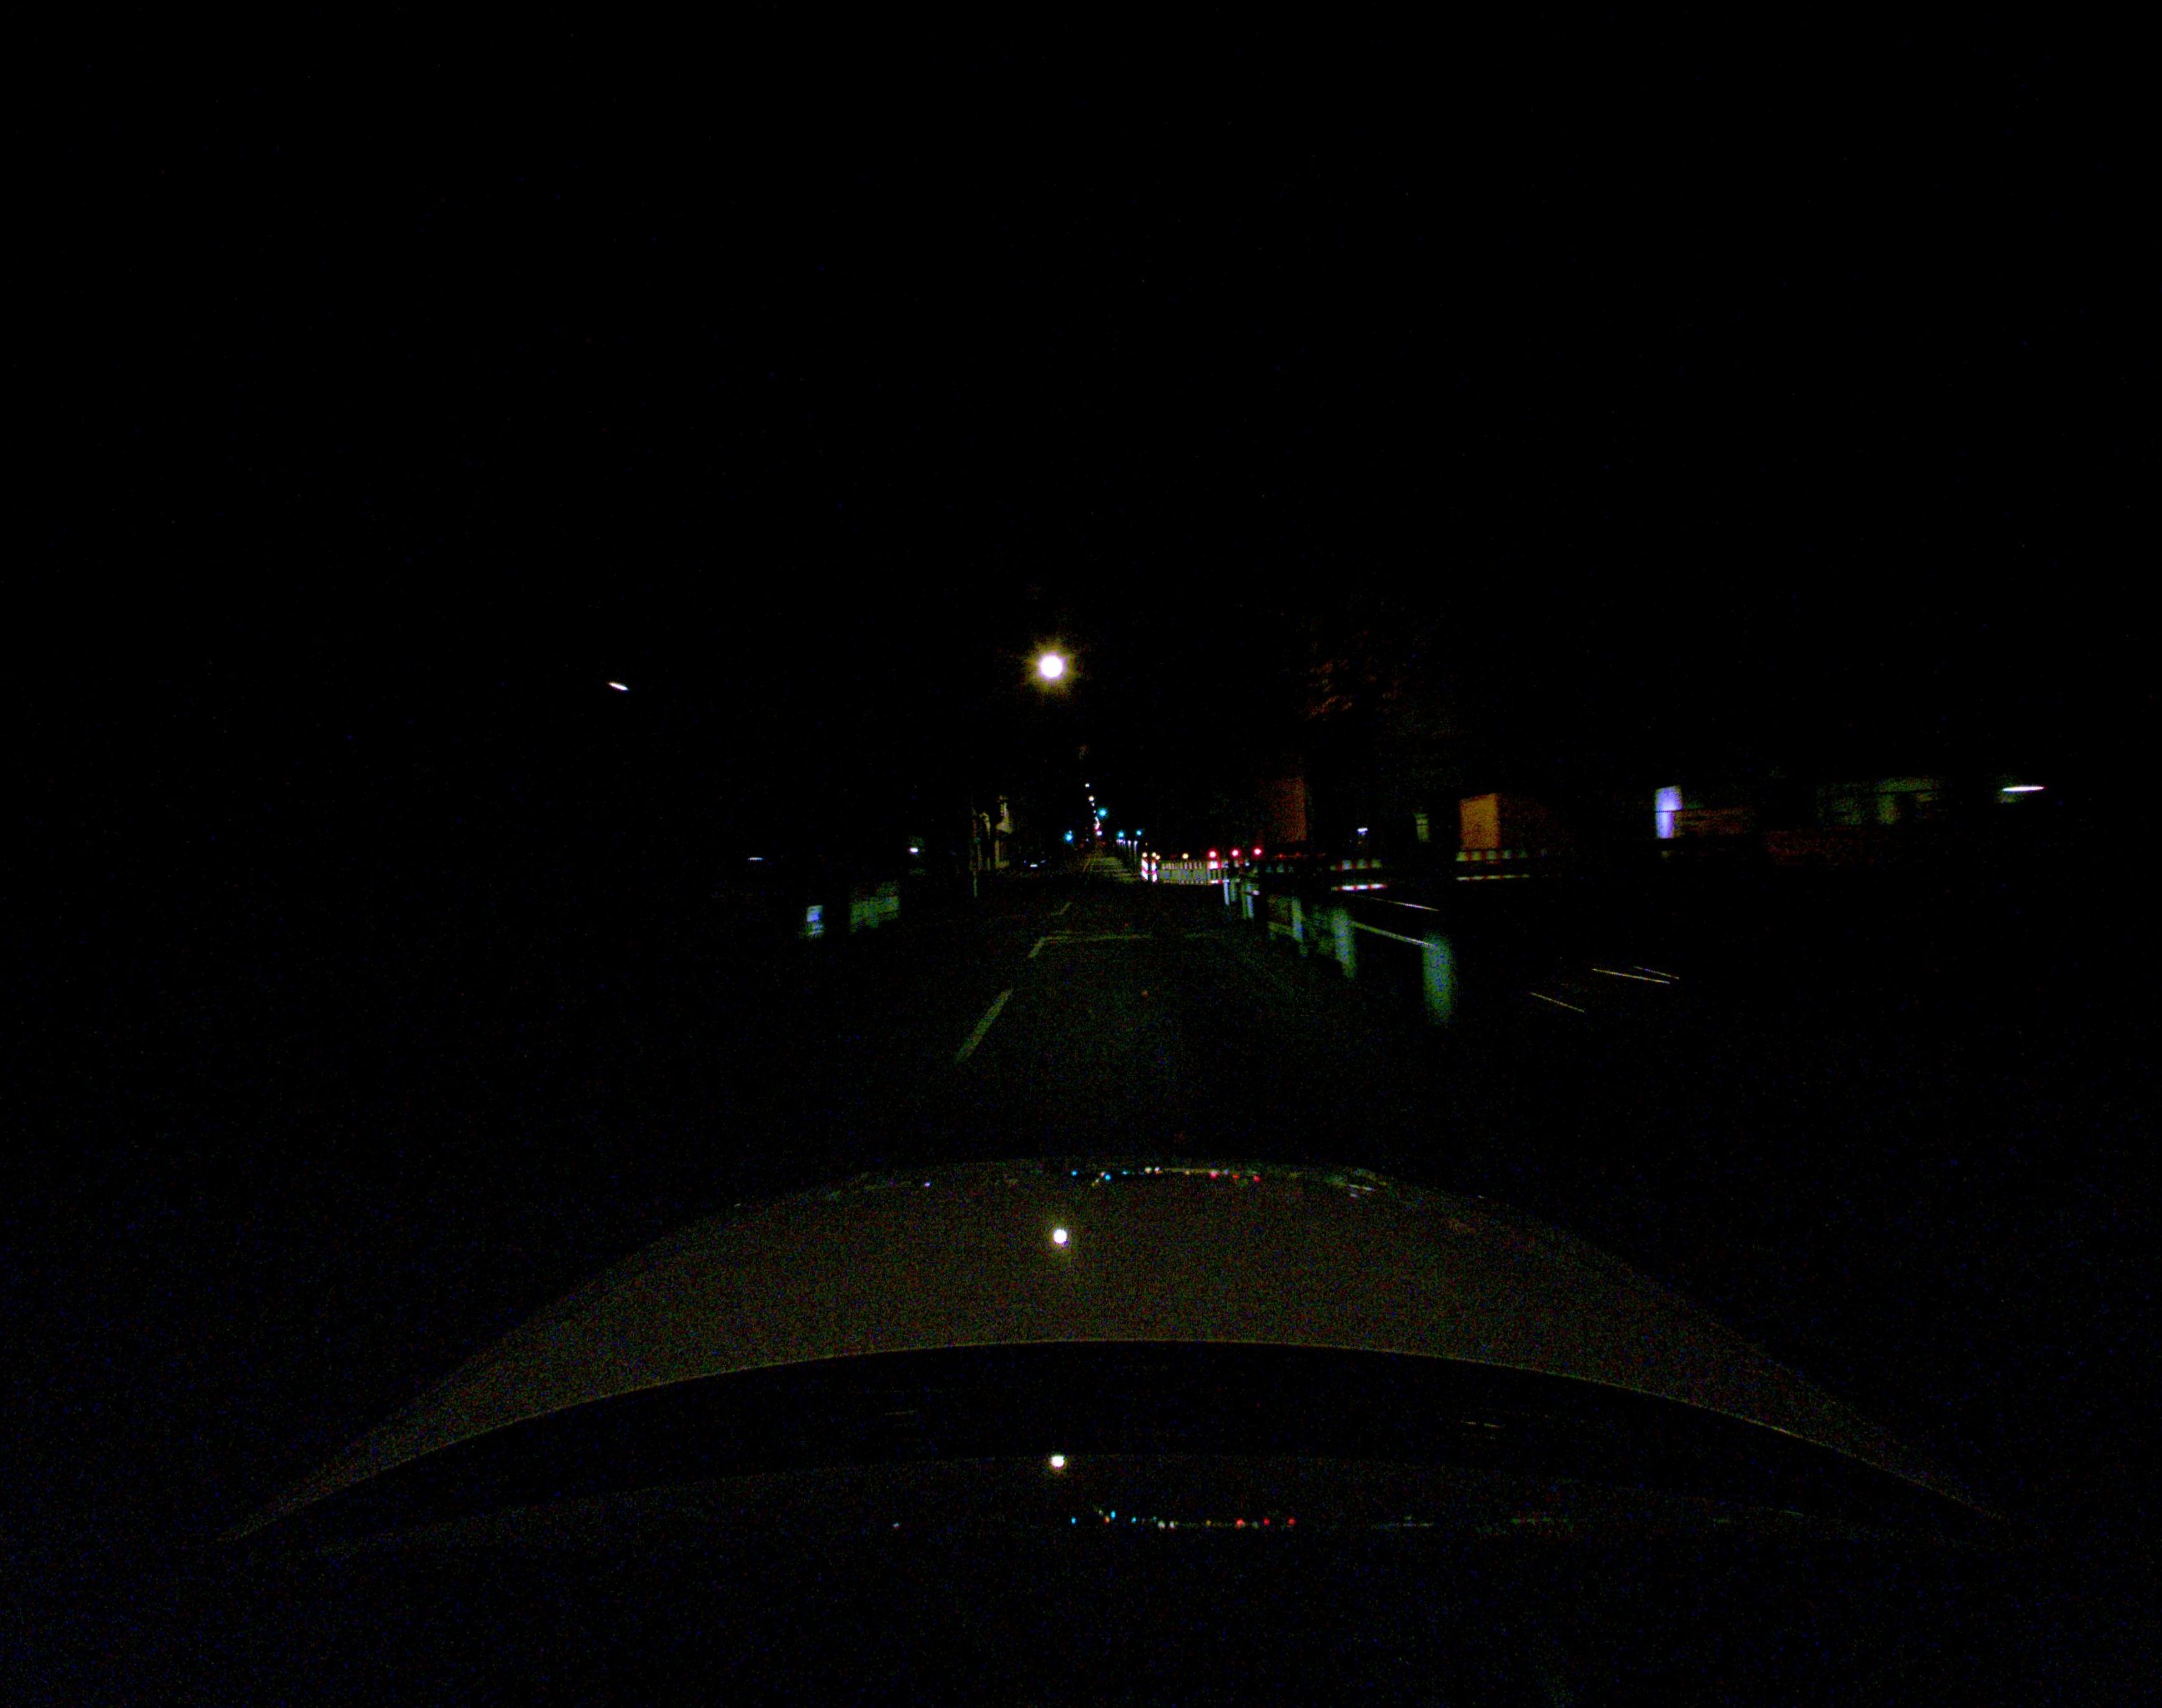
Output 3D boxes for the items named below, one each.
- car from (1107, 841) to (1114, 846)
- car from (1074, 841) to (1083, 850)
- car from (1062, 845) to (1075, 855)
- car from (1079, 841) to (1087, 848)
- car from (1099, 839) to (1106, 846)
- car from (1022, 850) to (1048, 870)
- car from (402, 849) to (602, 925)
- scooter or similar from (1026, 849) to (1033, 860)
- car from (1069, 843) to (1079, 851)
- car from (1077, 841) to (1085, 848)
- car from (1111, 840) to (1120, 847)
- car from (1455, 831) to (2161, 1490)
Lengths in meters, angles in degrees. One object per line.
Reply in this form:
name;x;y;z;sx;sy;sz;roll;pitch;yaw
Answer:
car;8.296;-2.911;226.417;1.866;1.544;4.206;-3;1;1
car;-0.482;-1.907;180.553;1.866;1.814;4.206;-3;1;1
car;-2.092;-0.751;137.165;1.866;1.544;4.206;-3;1;1
car;0.584;-2.636;216.805;1.866;1.814;4.207;-3;1;2
car;6.474;-3.442;241.640;1.866;1.814;4.207;-3;1;2
car;-3.625;0.448;65.121;1.665;1.443;4.206;-3;1;1
car;-21.518;1.231;30.473;5.826;2.544;2.246;-2;-3;0
scooter or similar;-5.769;0.019;91.053;0.526;1.165;2.508;-4;-1;1
car;-1.483;-1.529;174.540;1.866;1.544;4.206;-3;1;1
car;0.072;-2.339;198.851;1.866;1.814;4.206;-3;1;1
car;7.906;-2.333;187.459;1.866;1.544;4.206;-3;1;1
car;3.225;0.666;2.881;1.722;1.419;4.321;-3;0;-1
